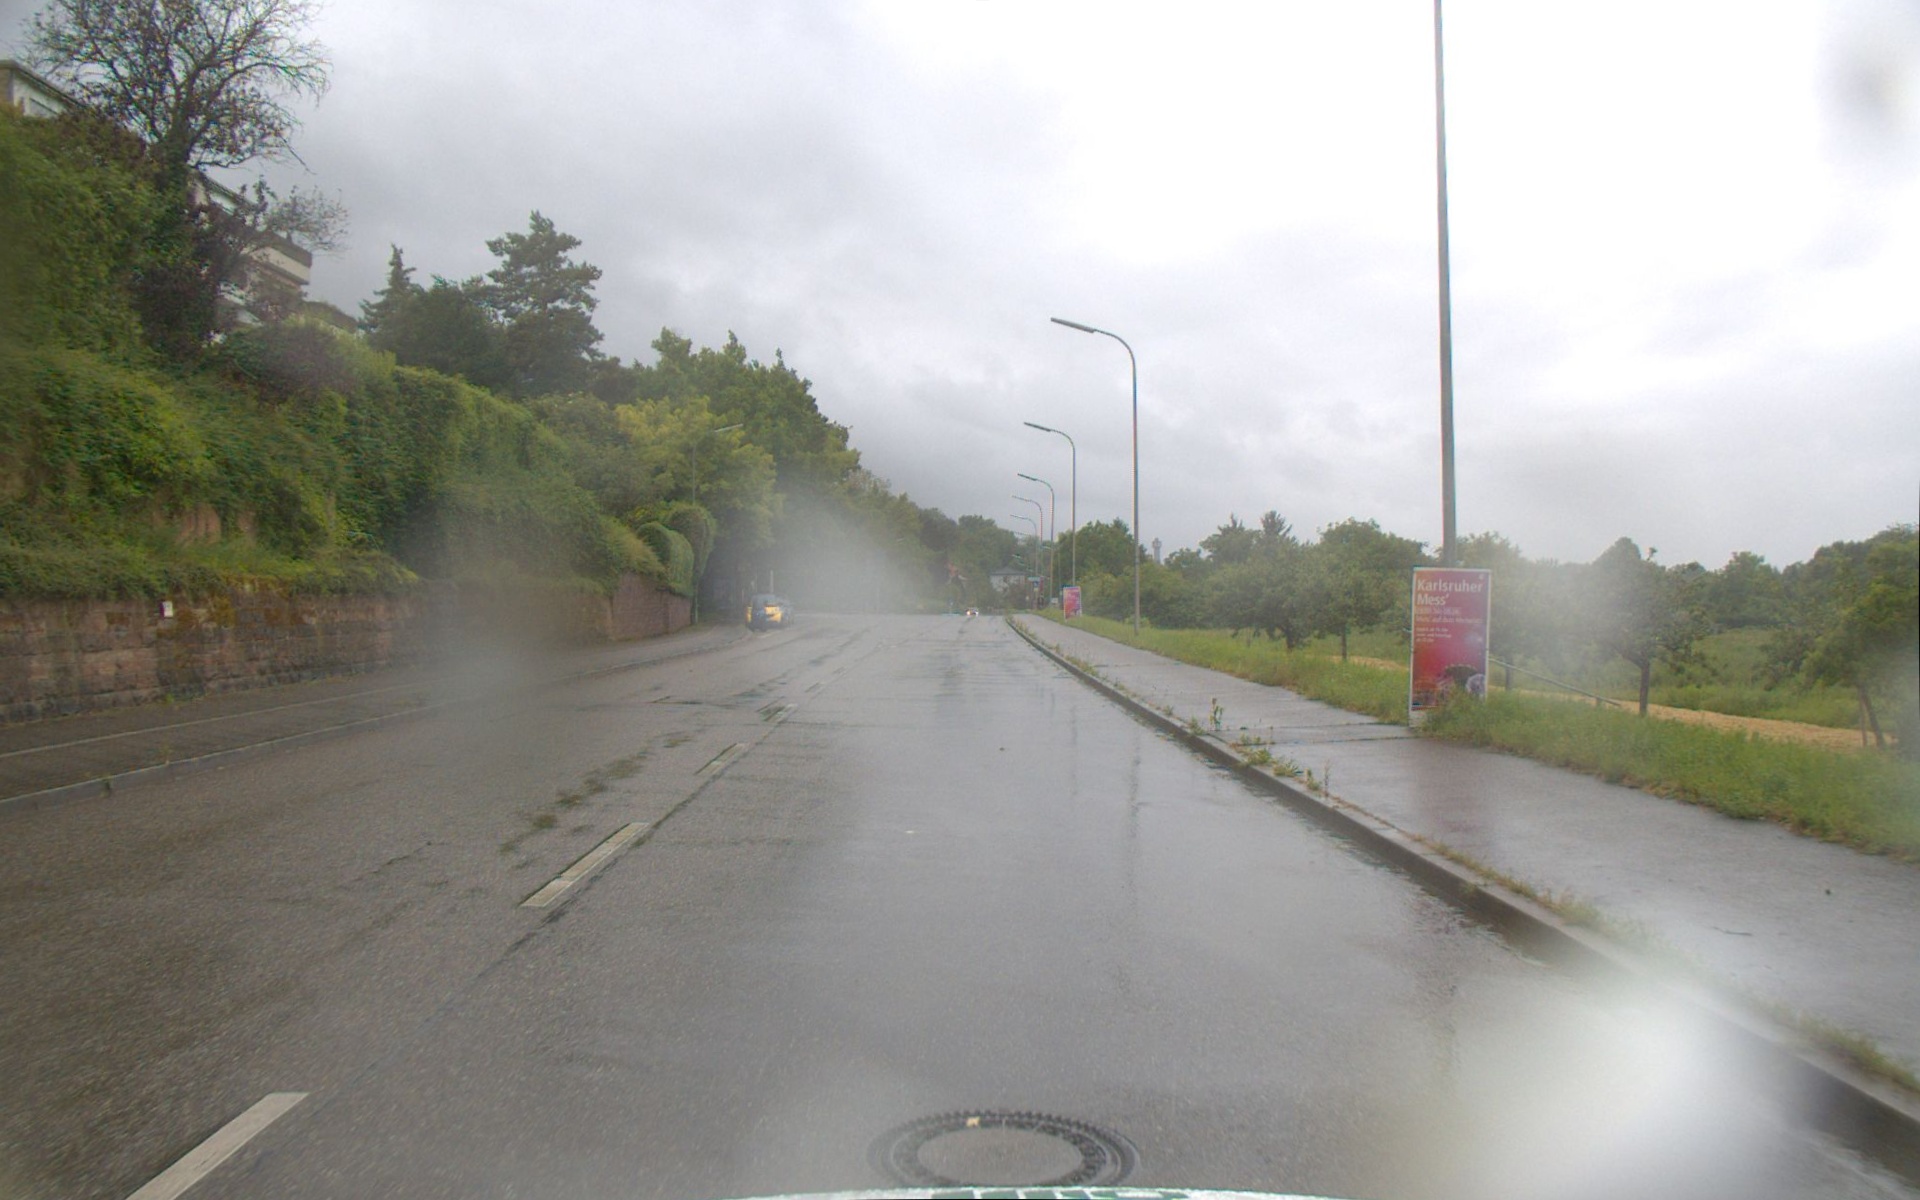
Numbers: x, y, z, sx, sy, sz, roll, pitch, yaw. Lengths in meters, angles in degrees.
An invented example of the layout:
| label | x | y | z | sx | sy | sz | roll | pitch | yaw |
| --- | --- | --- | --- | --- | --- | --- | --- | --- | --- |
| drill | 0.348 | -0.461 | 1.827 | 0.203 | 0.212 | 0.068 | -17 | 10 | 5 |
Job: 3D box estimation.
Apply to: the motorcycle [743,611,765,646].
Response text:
| label | x | y | z | sx | sy | sz | roll | pitch | yaw |
| --- | --- | --- | --- | --- | --- | --- | --- | --- | --- |
| motorcycle | -8.134 | 1.112 | 65.429 | 0.821 | 1.364 | 2.496 | -1 | 0 | -6 |

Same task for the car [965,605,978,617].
| label | x | y | z | sx | sy | sz | roll | pitch | yaw |
| --- | --- | --- | --- | --- | --- | --- | --- | --- | --- |
| car | 1.746 | 1.674 | 246.453 | 1.758 | 1.793 | 3.998 | 1 | 0 | -2 |

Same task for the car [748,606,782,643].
| label | x | y | z | sx | sy | sz | roll | pitch | yaw |
| --- | --- | --- | --- | --- | --- | --- | --- | --- | --- |
| car | -8.527 | 1.047 | 72.241 | 1.406 | 1.564 | 2.814 | -1 | 0 | -8 |
